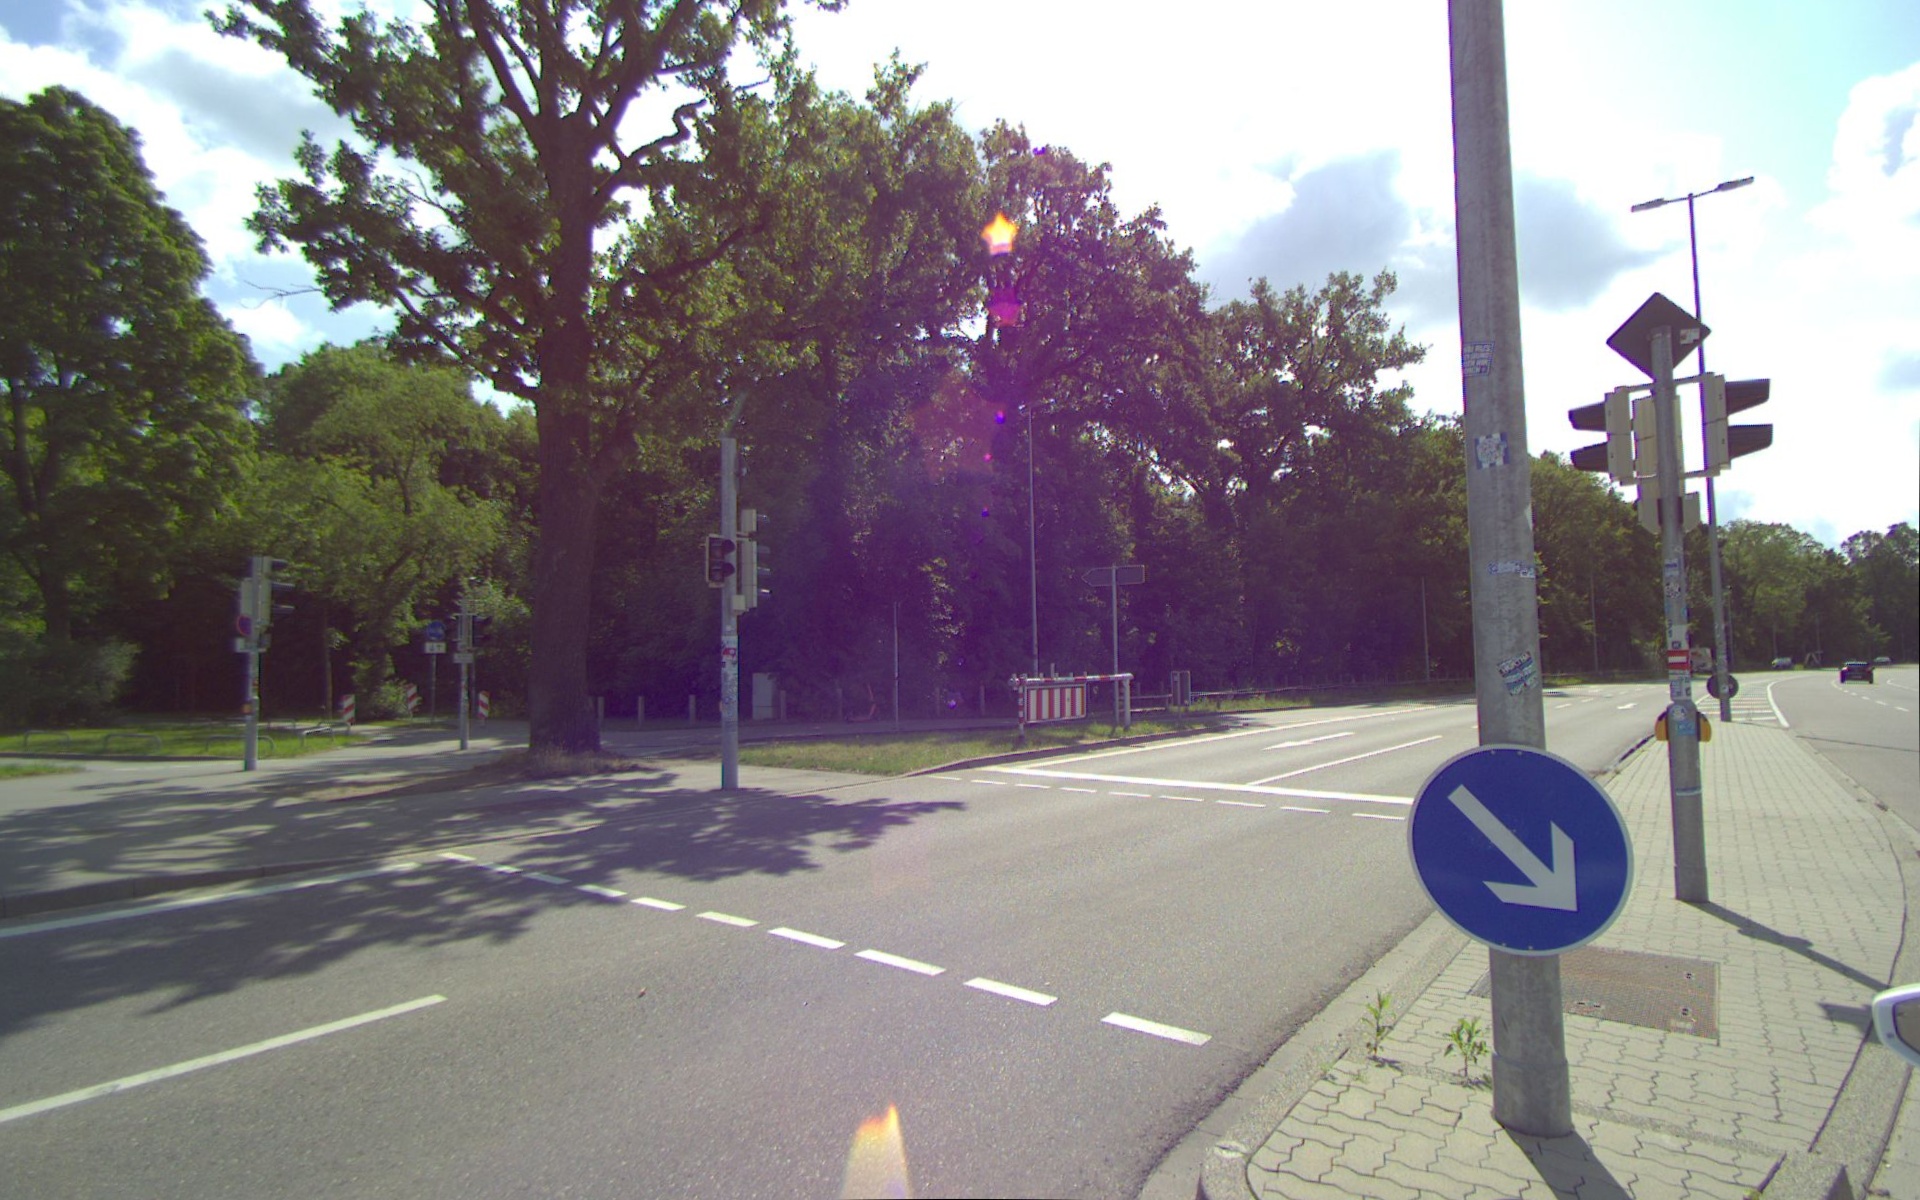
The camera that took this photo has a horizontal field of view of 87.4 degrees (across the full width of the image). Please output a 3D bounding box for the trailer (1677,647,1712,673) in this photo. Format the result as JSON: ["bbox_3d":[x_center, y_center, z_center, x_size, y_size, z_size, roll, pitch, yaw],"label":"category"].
[{"bbox_3d":[69.191,5.670,94.611,1.974,2.419,3.975,-3,-5,45],"label":"trailer"}]

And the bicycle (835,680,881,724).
[{"bbox_3d":[-2.875,2.856,28.315,1.215,1.188,0.418,2,-4,-31],"label":"bicycle"}]

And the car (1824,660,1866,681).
[{"bbox_3d":[61.656,4.902,69.943,3.944,1.395,1.584,3,-5,-40],"label":"car"}]

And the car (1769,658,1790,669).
[{"bbox_3d":[104.524,8.080,128.107,3.502,1.465,1.491,3,-5,-41],"label":"car"}]

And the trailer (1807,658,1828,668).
[{"bbox_3d":[121.642,8.964,142.464,3.703,1.372,1.702,3,-5,-41],"label":"trailer"}]
